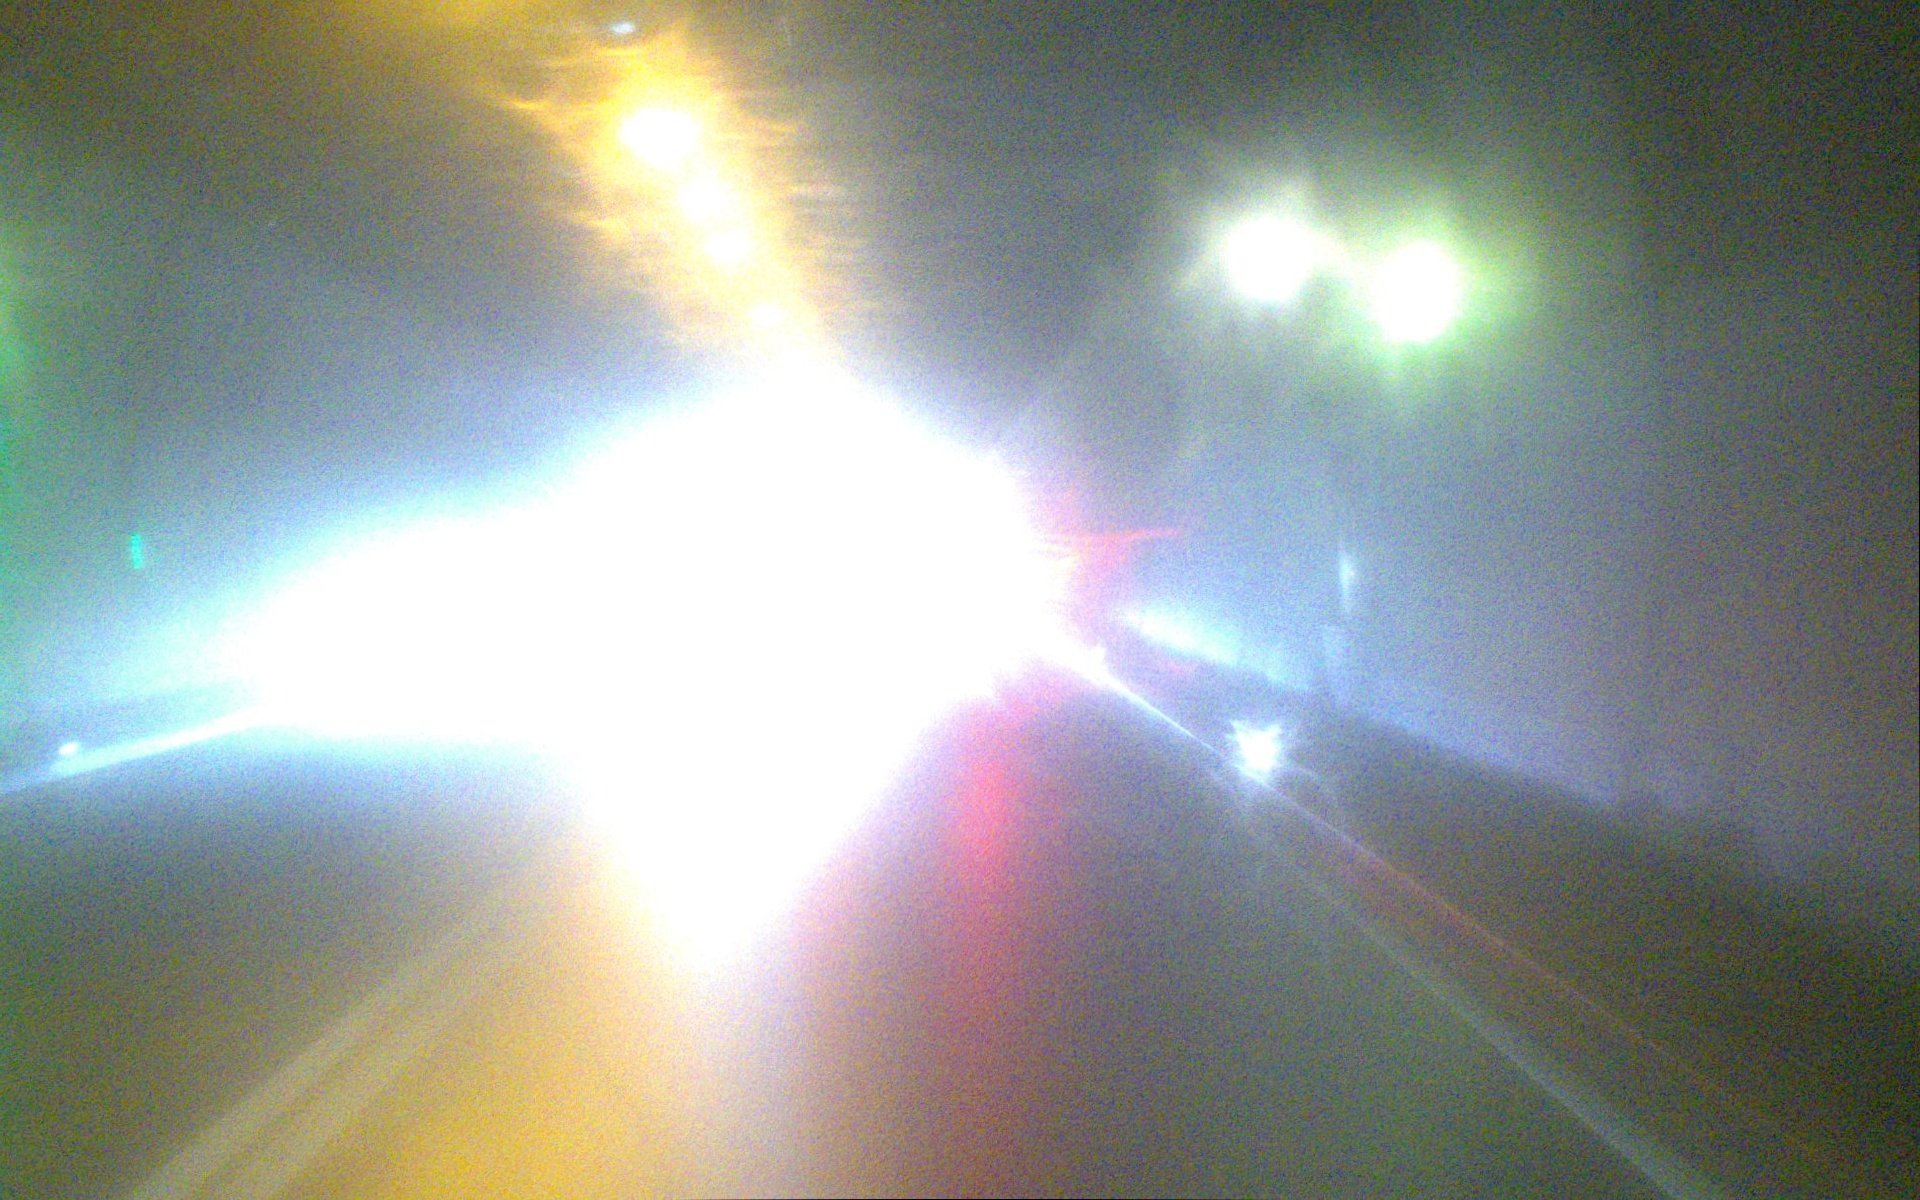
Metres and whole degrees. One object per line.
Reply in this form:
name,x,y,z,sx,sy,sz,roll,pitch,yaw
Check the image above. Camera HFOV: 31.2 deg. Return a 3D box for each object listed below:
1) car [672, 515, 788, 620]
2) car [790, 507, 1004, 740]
car,-4.715,-0.704,71.062,2.211,2.006,4.001,-1,2,-2
car,-0.467,0.127,28.912,1.635,1.751,4.146,-1,2,1
